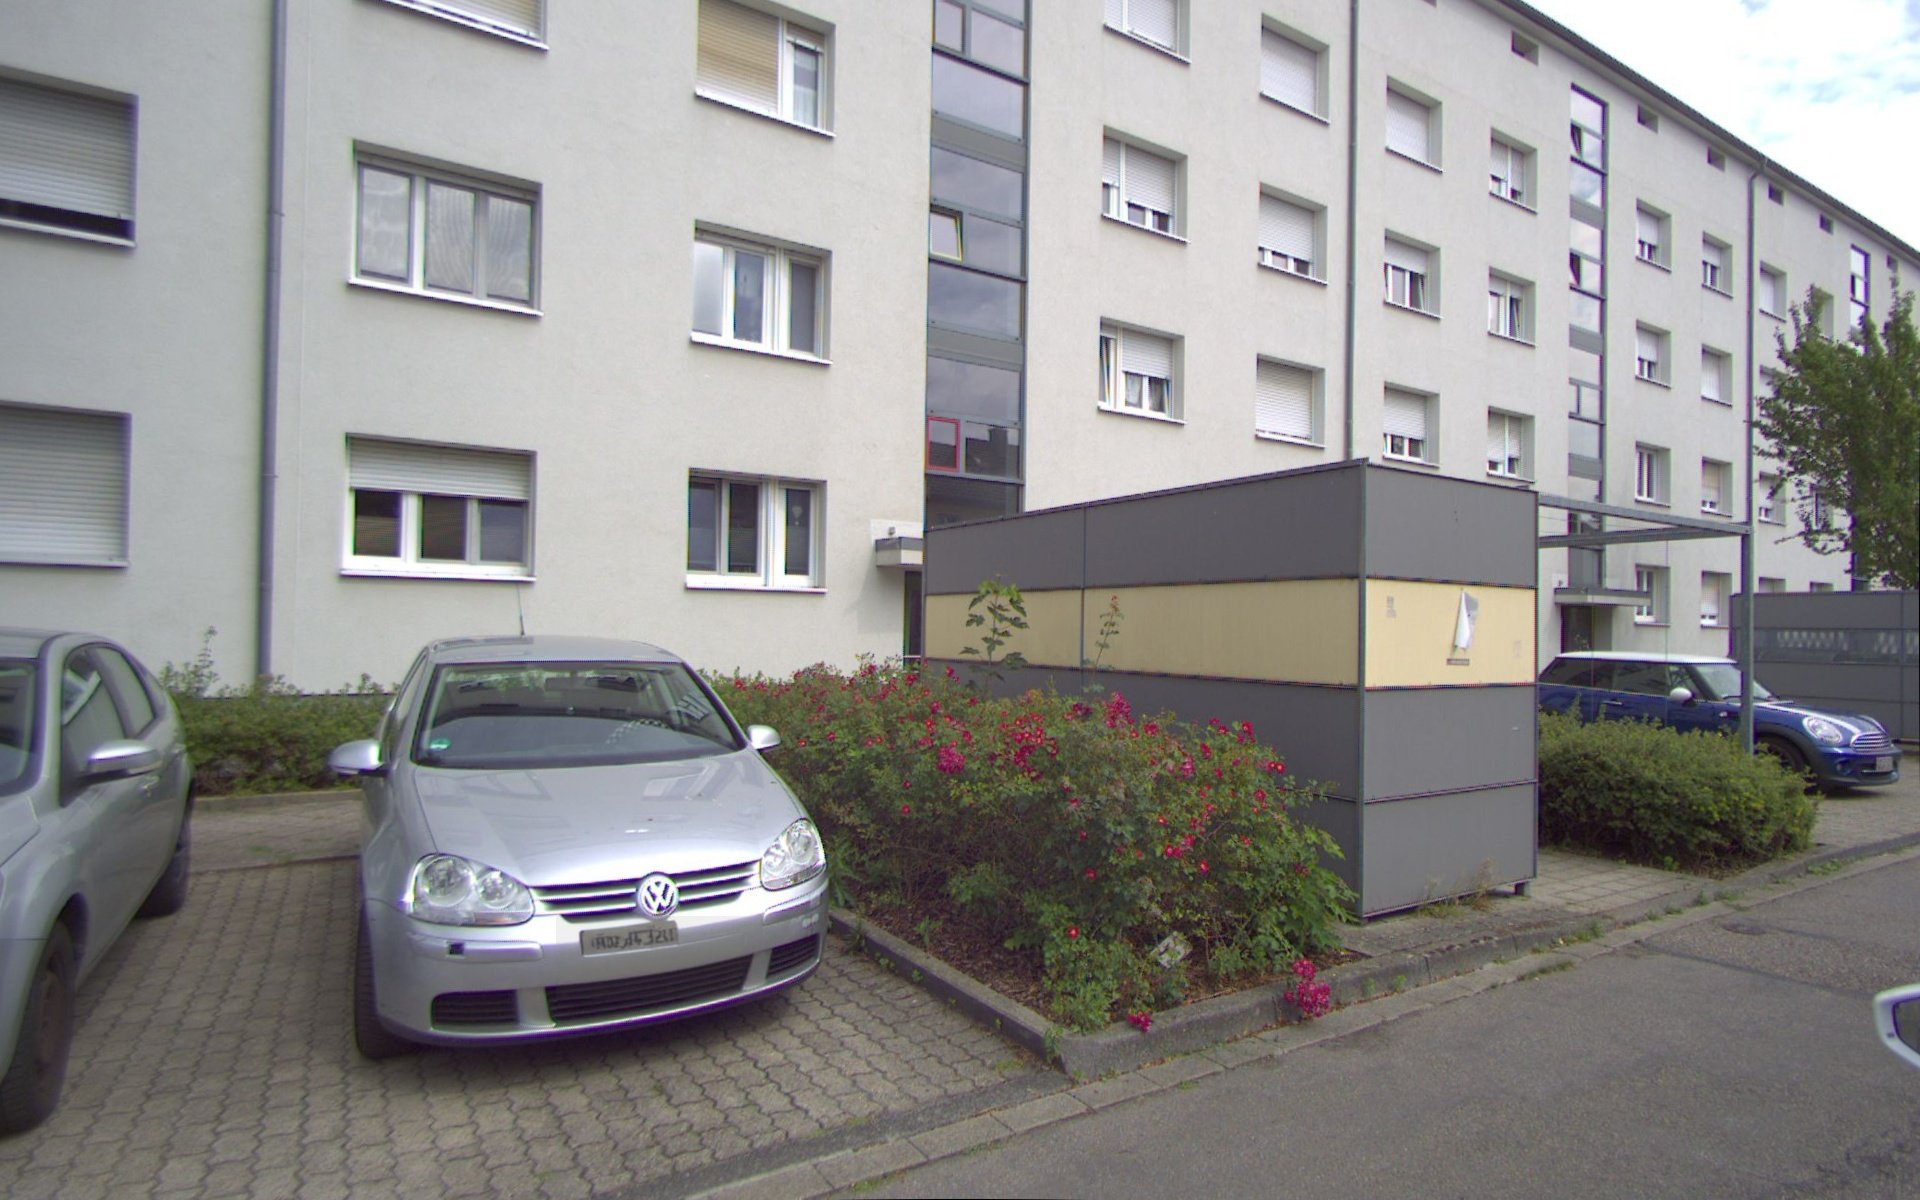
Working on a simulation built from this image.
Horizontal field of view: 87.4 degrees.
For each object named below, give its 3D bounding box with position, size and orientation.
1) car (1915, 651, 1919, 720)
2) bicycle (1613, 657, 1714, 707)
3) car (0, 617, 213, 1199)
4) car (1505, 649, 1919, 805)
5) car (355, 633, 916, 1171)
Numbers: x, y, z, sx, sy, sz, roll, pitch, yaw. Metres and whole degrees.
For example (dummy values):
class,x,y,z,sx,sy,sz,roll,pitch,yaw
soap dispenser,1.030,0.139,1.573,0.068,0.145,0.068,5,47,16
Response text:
class,x,y,z,sx,sy,sz,roll,pitch,yaw
car,22.540,1.811,20.944,1.694,1.500,3.539,2,-3,-35
bicycle,15.544,1.807,22.232,1.775,1.038,0.479,0,-1,18
car,-4.072,0.842,3.644,1.762,1.525,4.031,2,-3,-31
car,8.608,1.337,11.771,1.632,1.480,3.621,2,-3,-28
car,-1.957,0.927,4.991,1.762,1.483,4.031,2,-3,-31
